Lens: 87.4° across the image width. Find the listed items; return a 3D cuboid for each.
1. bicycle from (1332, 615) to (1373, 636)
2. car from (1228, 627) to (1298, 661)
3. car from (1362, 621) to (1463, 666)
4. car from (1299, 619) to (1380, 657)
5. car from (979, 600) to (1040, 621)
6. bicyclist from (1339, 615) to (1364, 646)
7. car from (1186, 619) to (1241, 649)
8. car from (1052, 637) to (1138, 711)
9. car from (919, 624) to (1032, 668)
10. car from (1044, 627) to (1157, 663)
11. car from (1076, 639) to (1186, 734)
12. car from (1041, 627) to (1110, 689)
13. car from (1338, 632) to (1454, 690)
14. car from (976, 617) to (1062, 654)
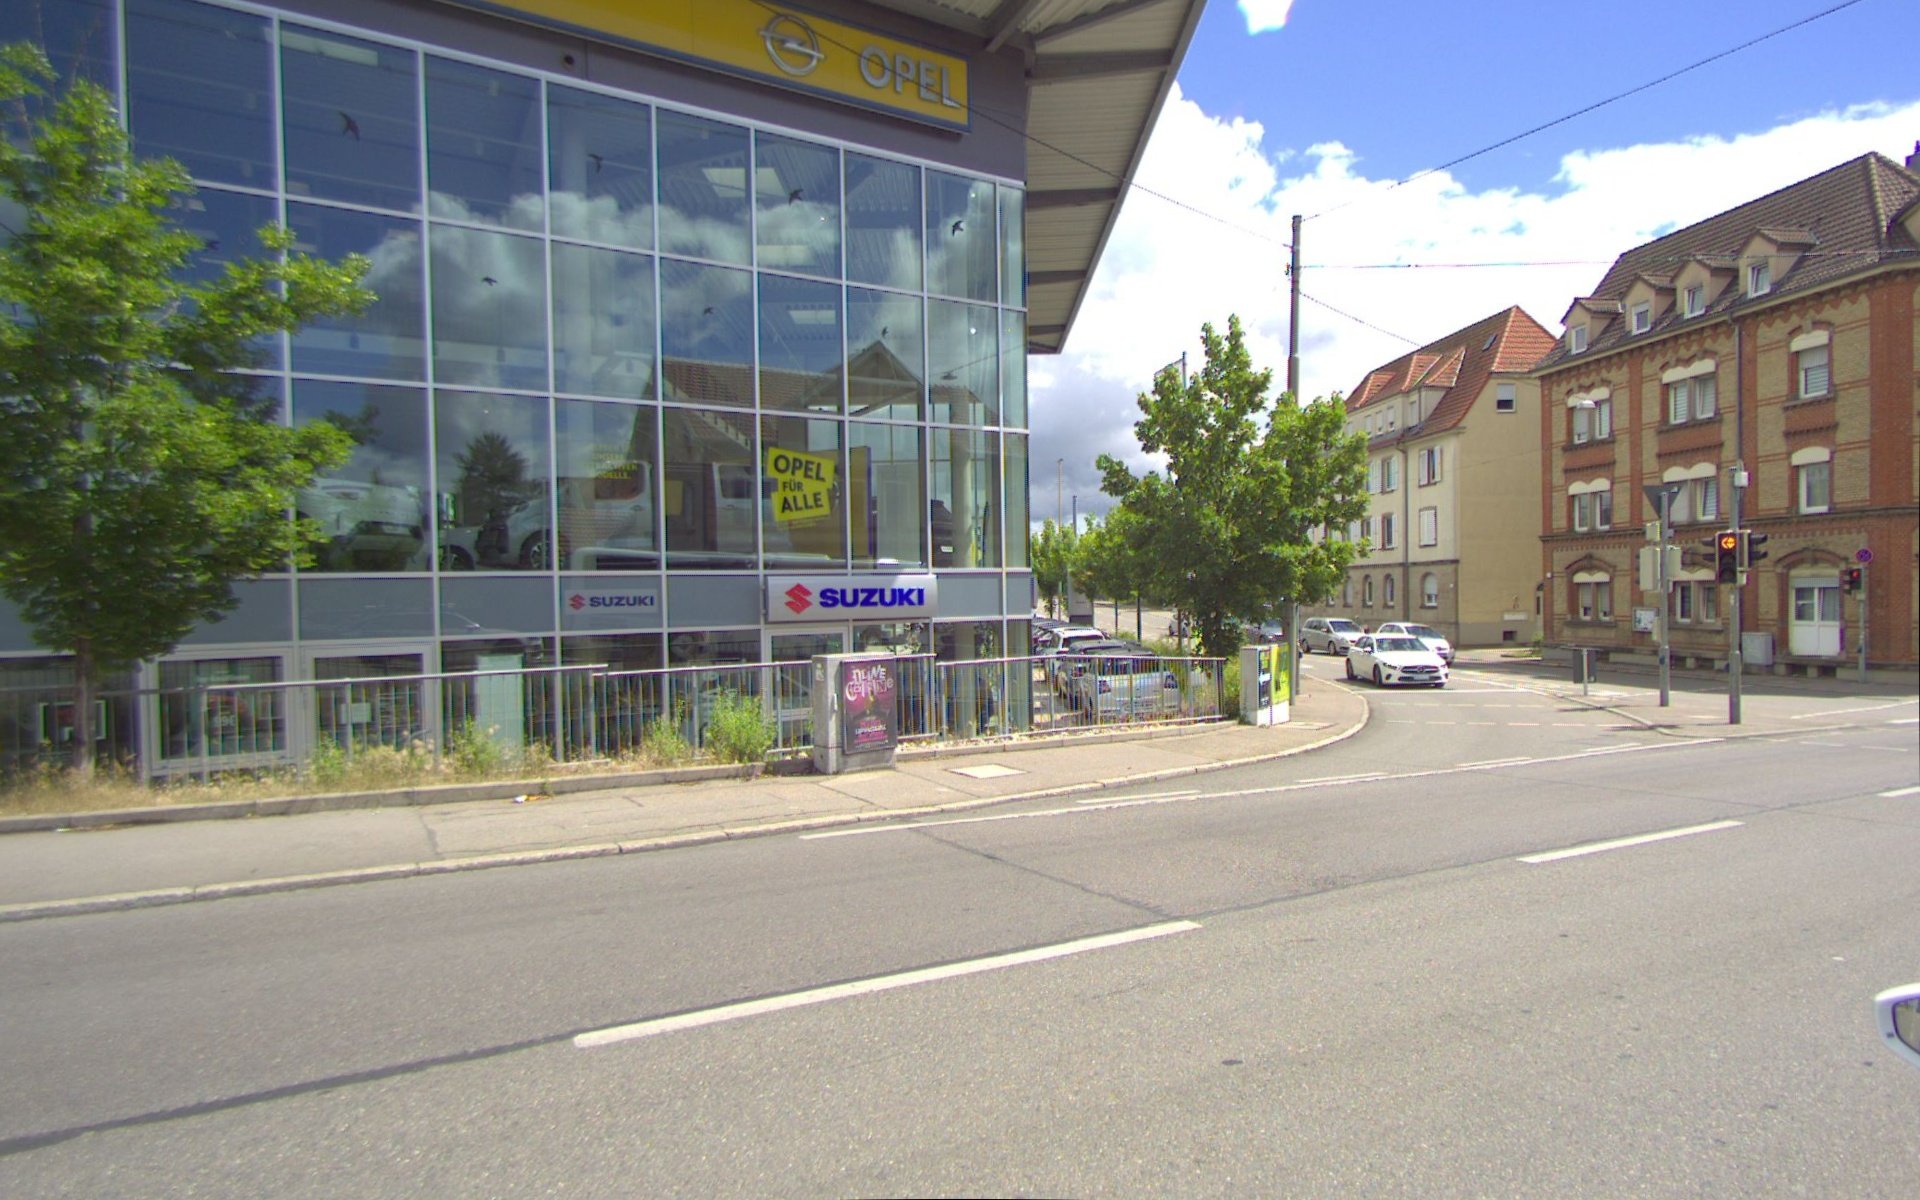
[{"bbox_3d":[19.836,1.276,50.817,0.597,1.033,2.181,1,-1,-21],"label":"bicycle"},{"bbox_3d":[15.333,2.190,51.023,1.963,1.539,3.996,1,-1,-7],"label":"car"},{"bbox_3d":[17.062,1.613,38.091,1.670,1.517,3.995,1,-1,-7],"label":"car"},{"bbox_3d":[16.736,1.647,44.516,1.715,1.539,3.996,1,-1,-7],"label":"car"},{"bbox_3d":[3.256,0.679,66.273,3.921,1.311,1.818,1,-1,0],"label":"car"},{"bbox_3d":[19.815,1.536,50.866,0.581,1.519,1.069,1,-1,-21],"label":"bicyclist"},{"bbox_3d":[14.668,1.921,58.349,1.961,1.607,4.345,1,0,-2],"label":"car"},{"bbox_3d":[3.229,1.756,24.704,1.487,1.543,3.792,1,-1,-2],"label":"car"},{"bbox_3d":[0.589,1.683,37.231,3.919,1.478,1.605,1,-1,15],"label":"car"},{"bbox_3d":[5.166,1.636,37.214,3.921,1.202,1.818,1,-1,0],"label":"car"},{"bbox_3d":[3.394,1.690,20.555,1.720,1.596,3.687,2,-1,3],"label":"car"},{"bbox_3d":[3.279,1.635,29.098,1.487,1.596,3.414,1,-1,-2],"label":"car"},{"bbox_3d":[12.368,1.687,28.778,1.825,1.466,4.394,1,-1,6],"label":"car"},{"bbox_3d":[2.648,1.589,45.873,1.974,1.599,4.476,1,-1,-26],"label":"car"}]
